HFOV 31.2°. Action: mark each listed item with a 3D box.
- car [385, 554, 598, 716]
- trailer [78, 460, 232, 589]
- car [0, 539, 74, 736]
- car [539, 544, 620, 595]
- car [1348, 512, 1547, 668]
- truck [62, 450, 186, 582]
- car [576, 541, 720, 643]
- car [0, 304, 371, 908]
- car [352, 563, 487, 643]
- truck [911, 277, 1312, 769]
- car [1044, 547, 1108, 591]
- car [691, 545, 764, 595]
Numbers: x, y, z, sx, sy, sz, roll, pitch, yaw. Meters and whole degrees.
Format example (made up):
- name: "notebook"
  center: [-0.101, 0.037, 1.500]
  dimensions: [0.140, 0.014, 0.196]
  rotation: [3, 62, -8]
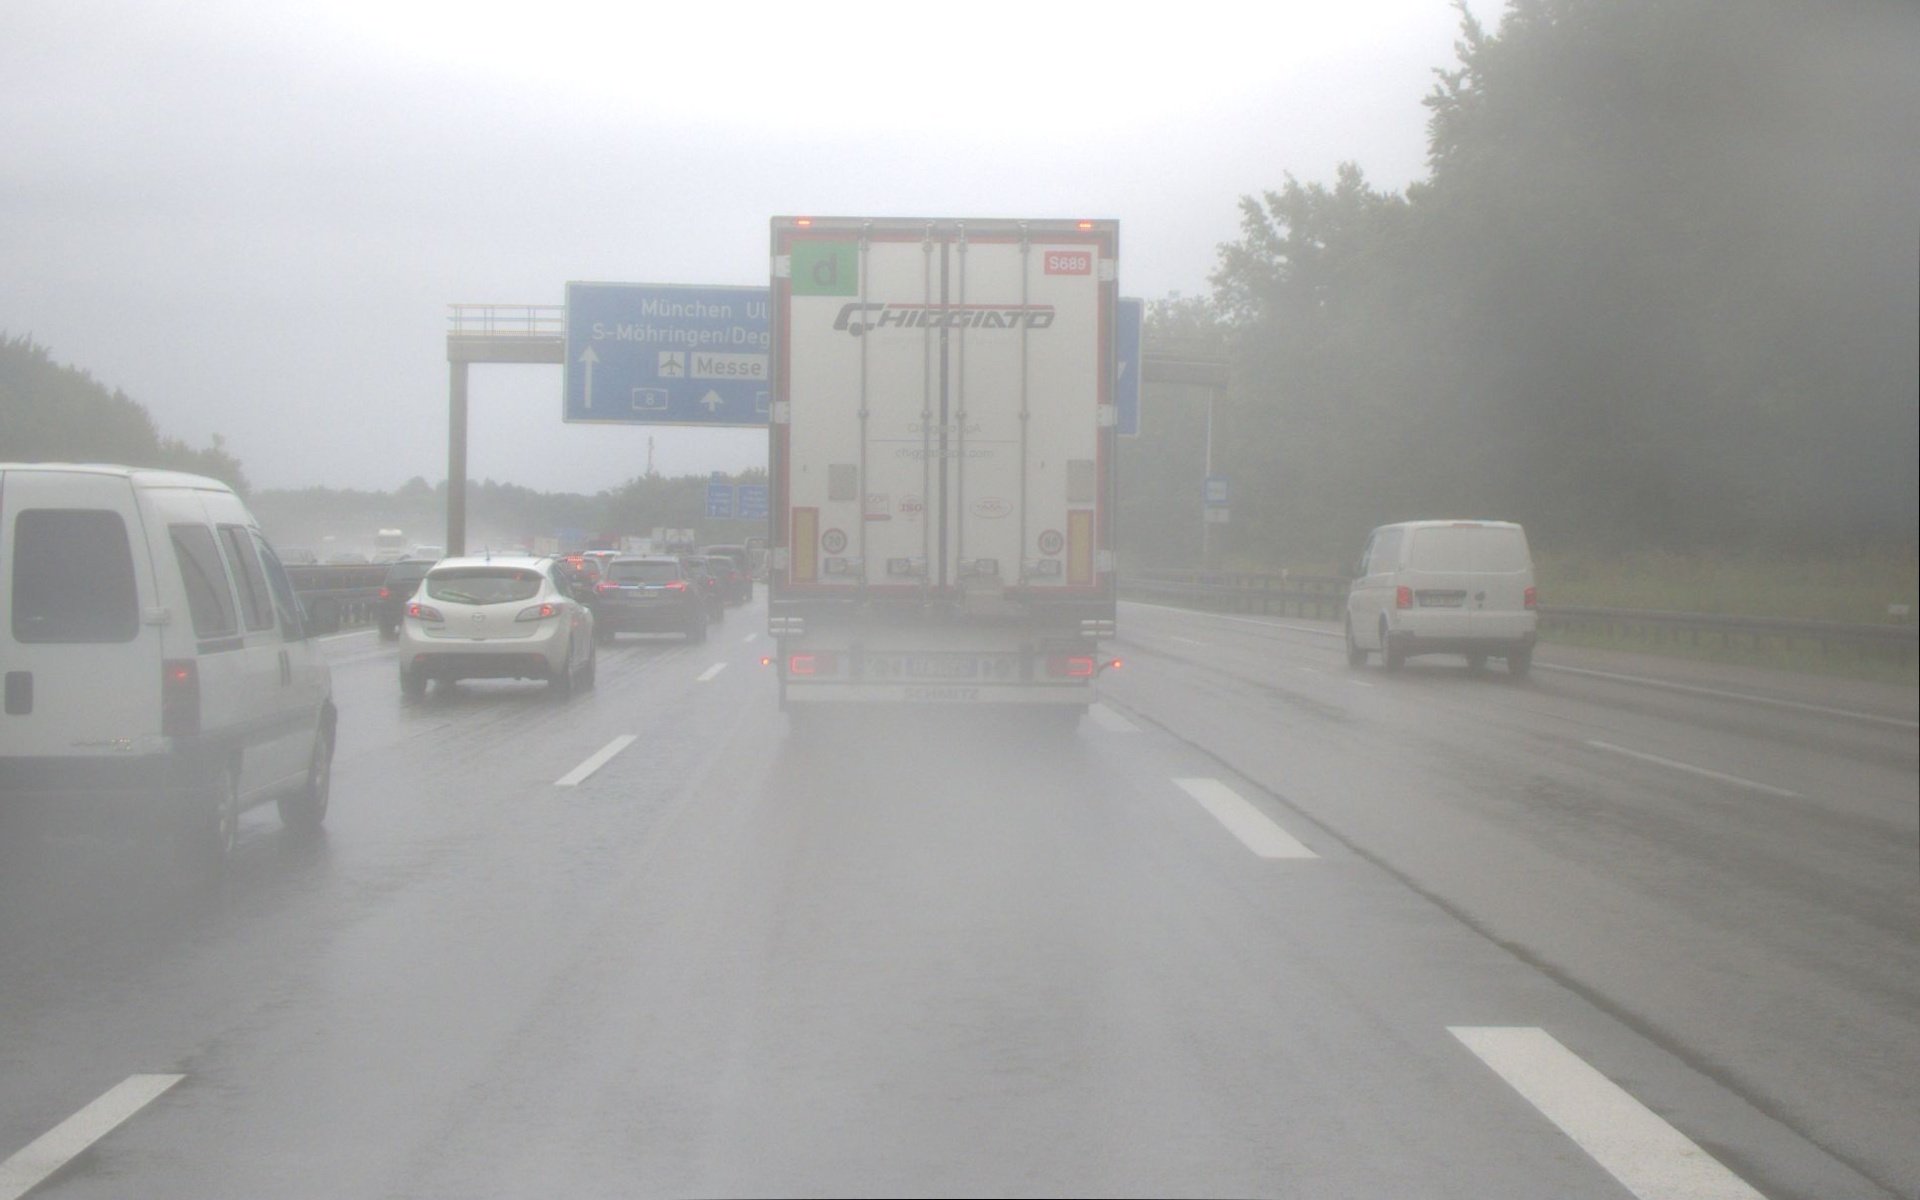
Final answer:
- name: "car"
  center: [-4.993, 0.327, 37.103]
  dimensions: [1.845, 1.586, 4.072]
  rotation: [1, 1, -2]
- name: "trailer"
  center: [-26.787, -2.498, 115.121]
  dimensions: [2.540, 4.011, 13.853]
  rotation: [1, 1, -3]
- name: "car"
  center: [-8.725, 0.303, 28.028]
  dimensions: [1.845, 1.586, 4.467]
  rotation: [1, 1, 0]
- name: "car"
  center: [-10.566, -0.869, 95.708]
  dimensions: [1.845, 1.326, 4.467]
  rotation: [1, 1, -1]
- name: "car"
  center: [6.323, -0.180, 45.086]
  dimensions: [1.990, 1.914, 4.767]
  rotation: [1, 1, 1]
- name: "truck"
  center: [-26.392, -2.625, 108.783]
  dimensions: [2.540, 4.011, 6.325]
  rotation: [1, 1, -2]
- name: "car"
  center: [-5.175, -0.161, 57.556]
  dimensions: [1.846, 1.586, 4.466]
  rotation: [1, 1, 2]
- name: "car"
  center: [-4.385, -0.037, 17.129]
  dimensions: [2.212, 2.564, 5.016]
  rotation: [1, 1, -2]
- name: "car"
  center: [-9.906, 0.028, 63.263]
  dimensions: [1.845, 1.326, 4.467]
  rotation: [1, 1, -1]
- name: "truck"
  center: [1.239, -0.626, 30.705]
  dimensions: [2.872, 3.550, 11.302]
  rotation: [1, 1, 1]
- name: "car"
  center: [3.818, -1.046, 113.773]
  dimensions: [1.790, 1.402, 4.228]
  rotation: [1, 1, -2]
- name: "car"
  center: [-6.627, -0.868, 98.349]
  dimensions: [1.845, 1.326, 4.467]
  rotation: [1, 1, -1]
